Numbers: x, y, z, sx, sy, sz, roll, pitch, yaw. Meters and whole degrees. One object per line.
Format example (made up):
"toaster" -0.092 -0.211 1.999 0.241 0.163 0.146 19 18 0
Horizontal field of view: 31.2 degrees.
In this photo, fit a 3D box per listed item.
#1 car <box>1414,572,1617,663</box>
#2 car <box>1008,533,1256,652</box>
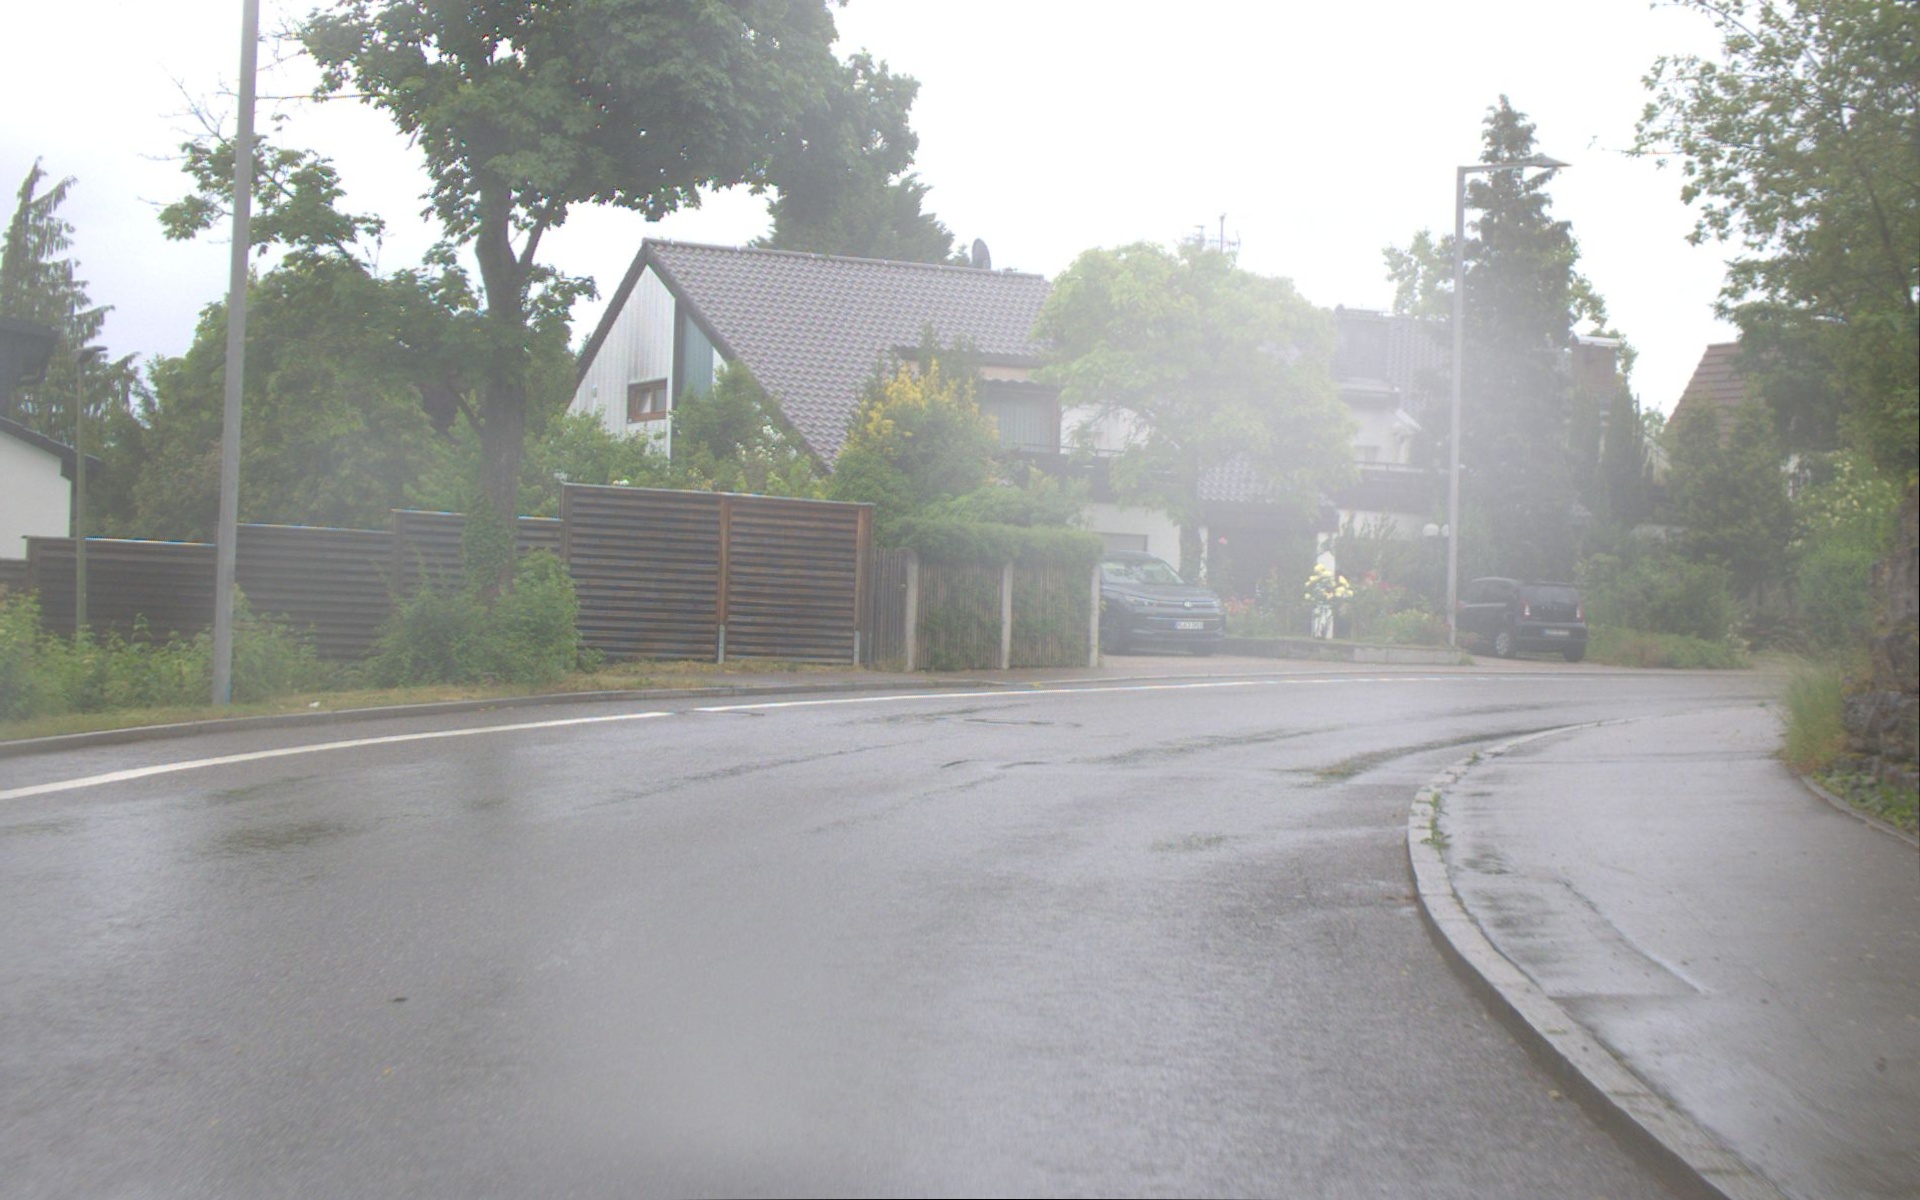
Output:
"car" 10.101 0.291 62.791 1.934 1.384 4.002 4 1 -18
"car" 2.744 -0.146 55.824 2.007 1.626 4.001 3 1 -32
